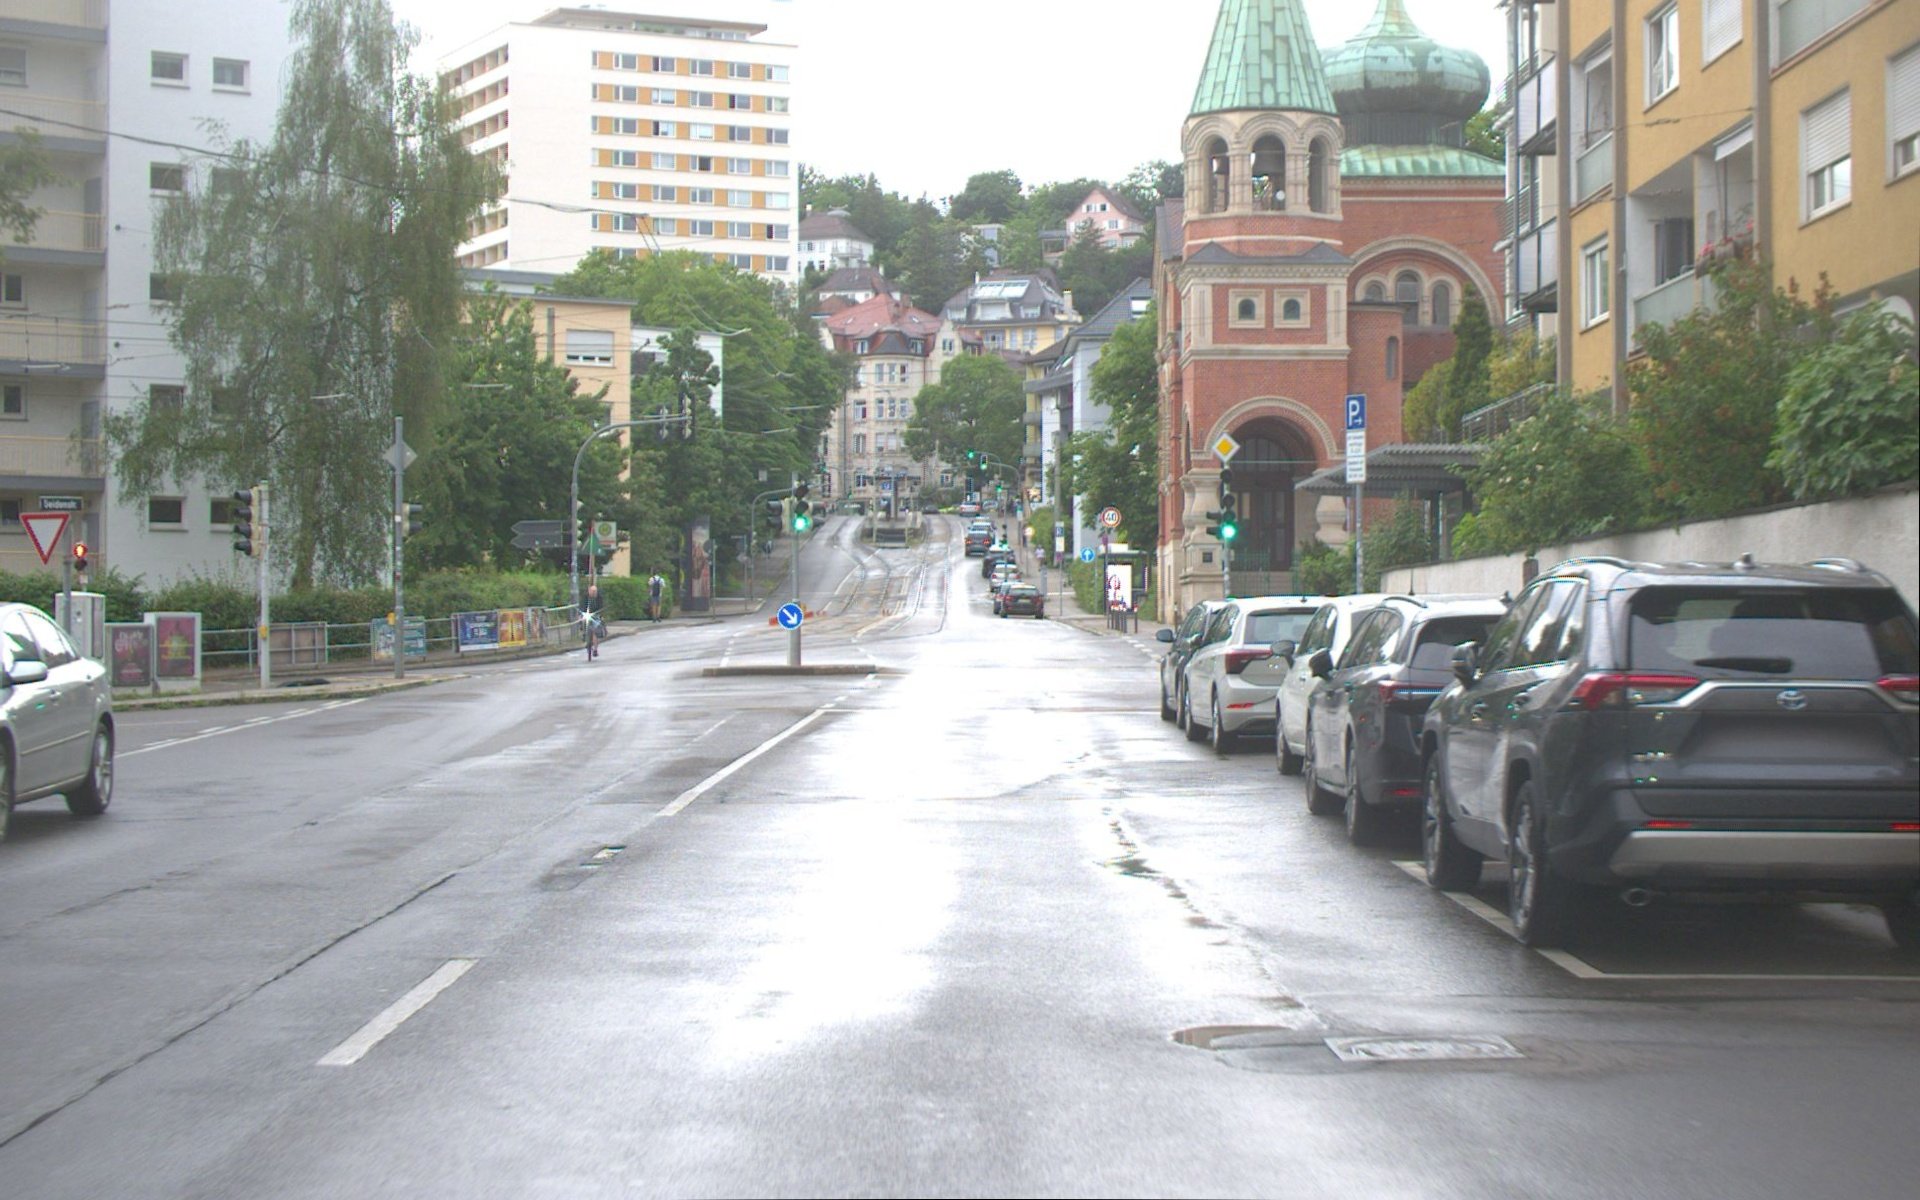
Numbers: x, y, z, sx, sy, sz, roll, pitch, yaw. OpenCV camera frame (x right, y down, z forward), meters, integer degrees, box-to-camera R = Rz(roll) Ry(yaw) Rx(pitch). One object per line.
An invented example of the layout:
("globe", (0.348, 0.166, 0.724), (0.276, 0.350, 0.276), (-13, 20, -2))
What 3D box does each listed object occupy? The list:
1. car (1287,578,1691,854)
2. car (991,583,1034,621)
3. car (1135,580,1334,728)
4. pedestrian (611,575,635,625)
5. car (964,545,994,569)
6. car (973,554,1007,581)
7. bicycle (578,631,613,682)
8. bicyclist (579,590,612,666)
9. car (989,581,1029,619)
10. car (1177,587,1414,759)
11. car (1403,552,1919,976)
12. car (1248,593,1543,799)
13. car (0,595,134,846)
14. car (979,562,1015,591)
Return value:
("car", (3.164, 0.647, 21.340), (1.817, 1.517, 4.076), (1, 0, -1))
("car", (2.308, 0.087, 150.309), (1.732, 1.648, 4.000), (0, 0, 3))
("car", (2.991, 0.563, 38.153), (1.817, 1.517, 4.076), (1, 0, -1))
("pedestrian", (-12.755, 0.006, 130.070), (0.887, 1.886, 0.923), (-1, 0, -6))
("car", (1.280, -2.877, 231.407), (1.908, 1.505, 4.000), (1, 0, -1))
("car", (1.777, -1.918, 202.829), (1.908, 1.505, 4.000), (1, 0, -1))
("bicycle", (-8.051, 1.241, 75.917), (0.677, 1.104, 1.800), (0, -1, -3))
("bicyclist", (-8.053, 0.619, 75.915), (0.677, 1.656, 0.650), (0, -1, -3))
("car", (2.300, -0.006, 161.714), (1.851, 1.760, 4.000), (1, 0, 1))
("car", (3.150, 0.654, 32.993), (1.817, 1.517, 4.076), (1, 0, -1))
("car", (3.213, 0.646, 15.597), (1.817, 1.647, 4.076), (1, 0, -1))
("car", (3.445, 0.717, 27.892), (1.817, 1.517, 4.076), (1, 0, -1))
("car", (-6.419, 0.723, 21.139), (1.709, 1.446, 4.294), (-1, -1, -1))
("car", (2.002, -1.285, 186.919), (1.892, 1.505, 4.000), (1, 0, -1))
